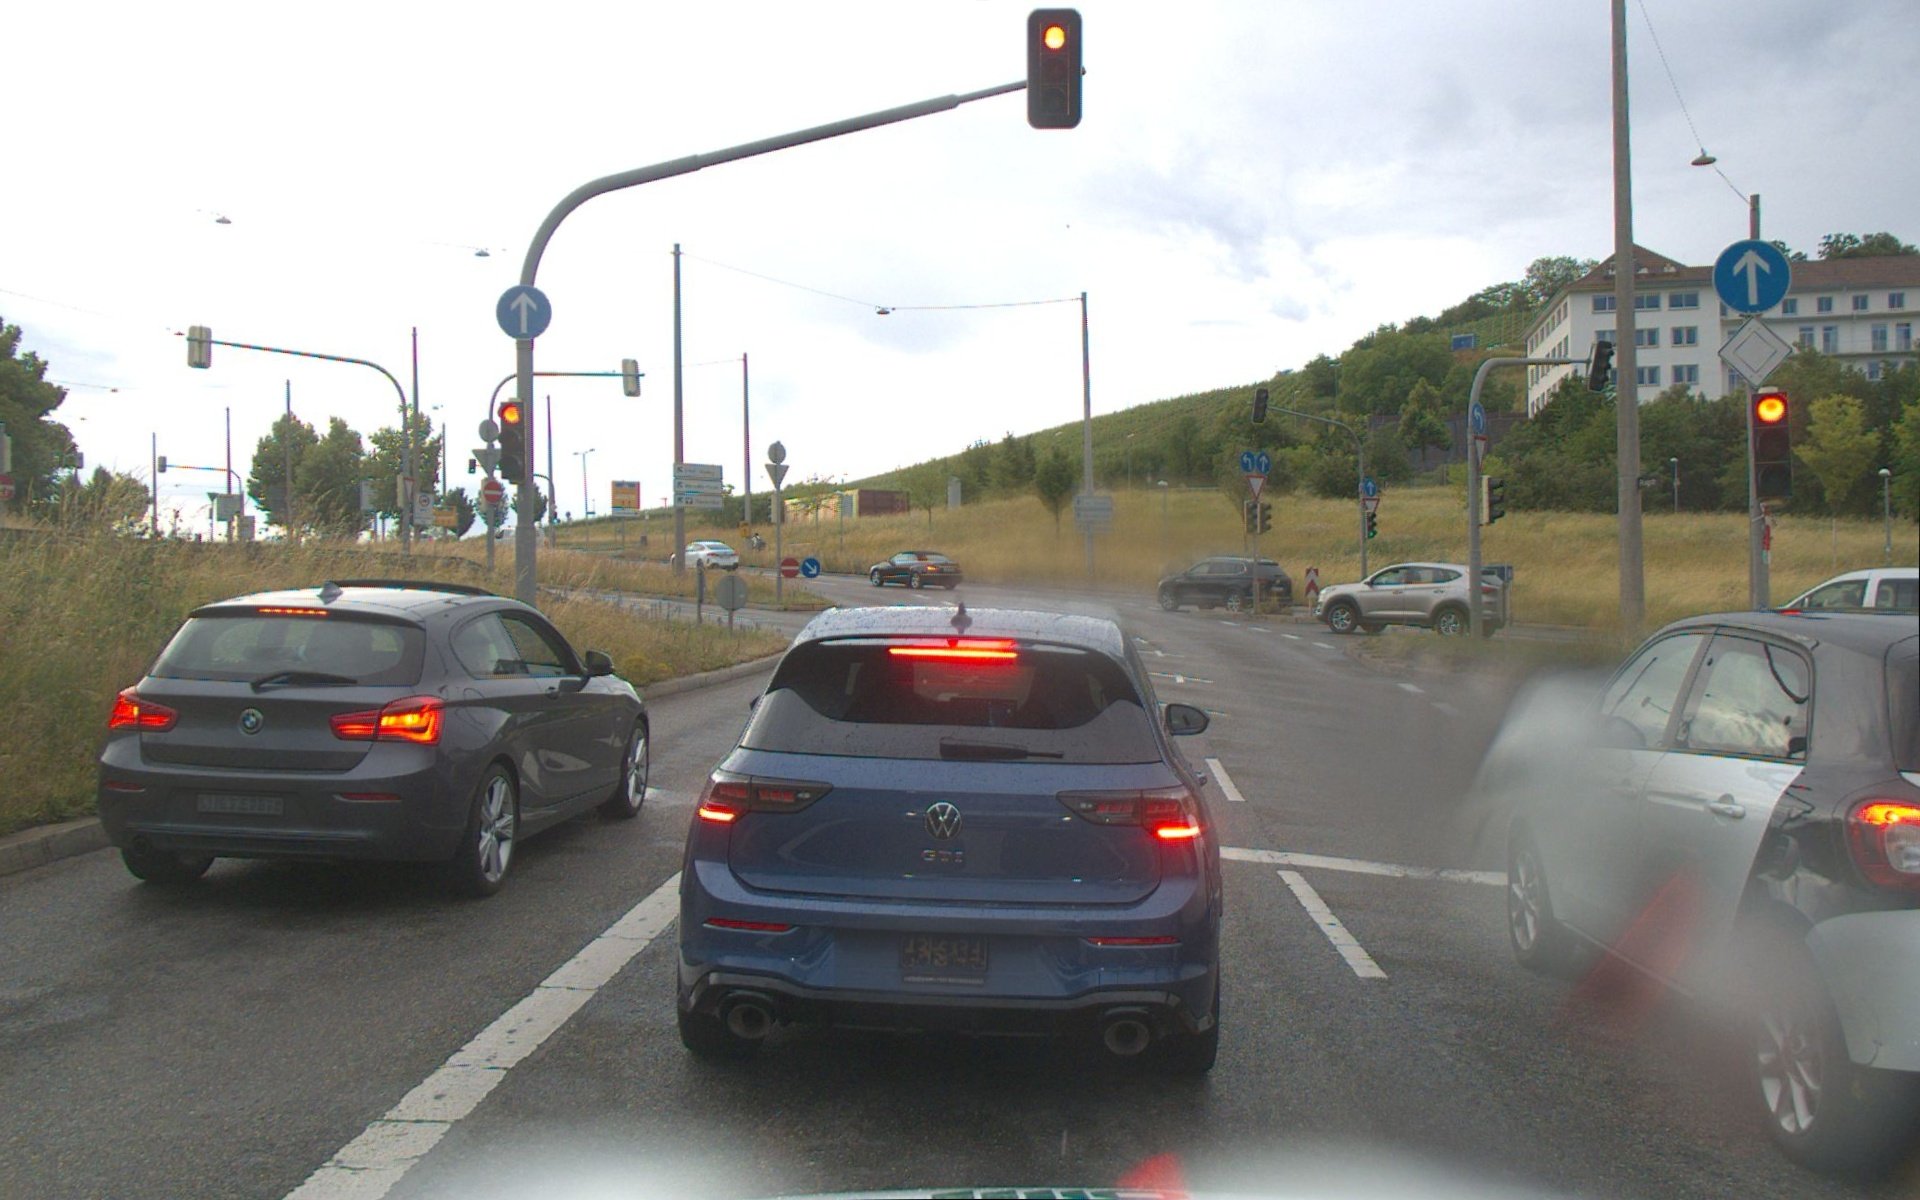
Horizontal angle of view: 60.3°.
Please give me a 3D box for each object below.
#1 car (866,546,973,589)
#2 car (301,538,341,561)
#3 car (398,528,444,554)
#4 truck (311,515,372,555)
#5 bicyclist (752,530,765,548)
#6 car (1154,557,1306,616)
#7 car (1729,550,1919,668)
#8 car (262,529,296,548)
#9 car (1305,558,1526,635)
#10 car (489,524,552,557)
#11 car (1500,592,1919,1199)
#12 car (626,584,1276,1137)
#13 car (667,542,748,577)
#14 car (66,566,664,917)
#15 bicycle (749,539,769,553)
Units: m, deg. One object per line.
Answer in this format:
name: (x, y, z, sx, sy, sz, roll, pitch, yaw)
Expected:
car: (-1.587, -1.217, 63.690, 1.978, 1.503, 4.446, 1, -1, -36)
car: (-51.568, -4.078, 133.465, 1.978, 1.688, 4.298, 1, -1, -36)
car: (-39.400, -4.279, 120.824, 1.978, 1.688, 4.487, 1, -1, -36)
truck: (-53.618, -5.641, 143.369, 3.234, 3.128, 6.096, 4, 0, -37)
bicyclist: (-12.165, -3.675, 99.953, 0.518, 1.065, 0.574, 3, 0, -34)
car: (8.068, -0.380, 49.720, 1.979, 1.665, 4.362, 1, -1, -37)
car: (15.542, 0.161, 27.588, 1.808, 1.882, 4.622, 2, -1, -44)
car: (-65.630, -5.957, 159.366, 1.978, 1.688, 4.488, 2, 1, -36)
car: (10.289, -0.071, 37.509, 4.437, 1.649, 1.991, 0, -1, 38)
car: (-26.812, -3.588, 100.712, 2.113, 1.826, 4.678, 1, -1, -37)
car: (3.188, 0.775, 5.783, 1.623, 1.529, 3.452, 1, -1, 3)
car: (0.113, 0.702, 6.462, 1.786, 1.486, 3.810, 1, 0, 4)
car: (-11.952, -1.885, 78.111, 1.979, 1.503, 4.362, 1, -1, -37)
car: (-2.922, 0.624, 9.146, 1.667, 1.485, 4.115, 0, -1, 2)
bicycle: (-12.163, -3.280, 99.898, 0.513, 0.788, 1.602, 3, 0, -33)
